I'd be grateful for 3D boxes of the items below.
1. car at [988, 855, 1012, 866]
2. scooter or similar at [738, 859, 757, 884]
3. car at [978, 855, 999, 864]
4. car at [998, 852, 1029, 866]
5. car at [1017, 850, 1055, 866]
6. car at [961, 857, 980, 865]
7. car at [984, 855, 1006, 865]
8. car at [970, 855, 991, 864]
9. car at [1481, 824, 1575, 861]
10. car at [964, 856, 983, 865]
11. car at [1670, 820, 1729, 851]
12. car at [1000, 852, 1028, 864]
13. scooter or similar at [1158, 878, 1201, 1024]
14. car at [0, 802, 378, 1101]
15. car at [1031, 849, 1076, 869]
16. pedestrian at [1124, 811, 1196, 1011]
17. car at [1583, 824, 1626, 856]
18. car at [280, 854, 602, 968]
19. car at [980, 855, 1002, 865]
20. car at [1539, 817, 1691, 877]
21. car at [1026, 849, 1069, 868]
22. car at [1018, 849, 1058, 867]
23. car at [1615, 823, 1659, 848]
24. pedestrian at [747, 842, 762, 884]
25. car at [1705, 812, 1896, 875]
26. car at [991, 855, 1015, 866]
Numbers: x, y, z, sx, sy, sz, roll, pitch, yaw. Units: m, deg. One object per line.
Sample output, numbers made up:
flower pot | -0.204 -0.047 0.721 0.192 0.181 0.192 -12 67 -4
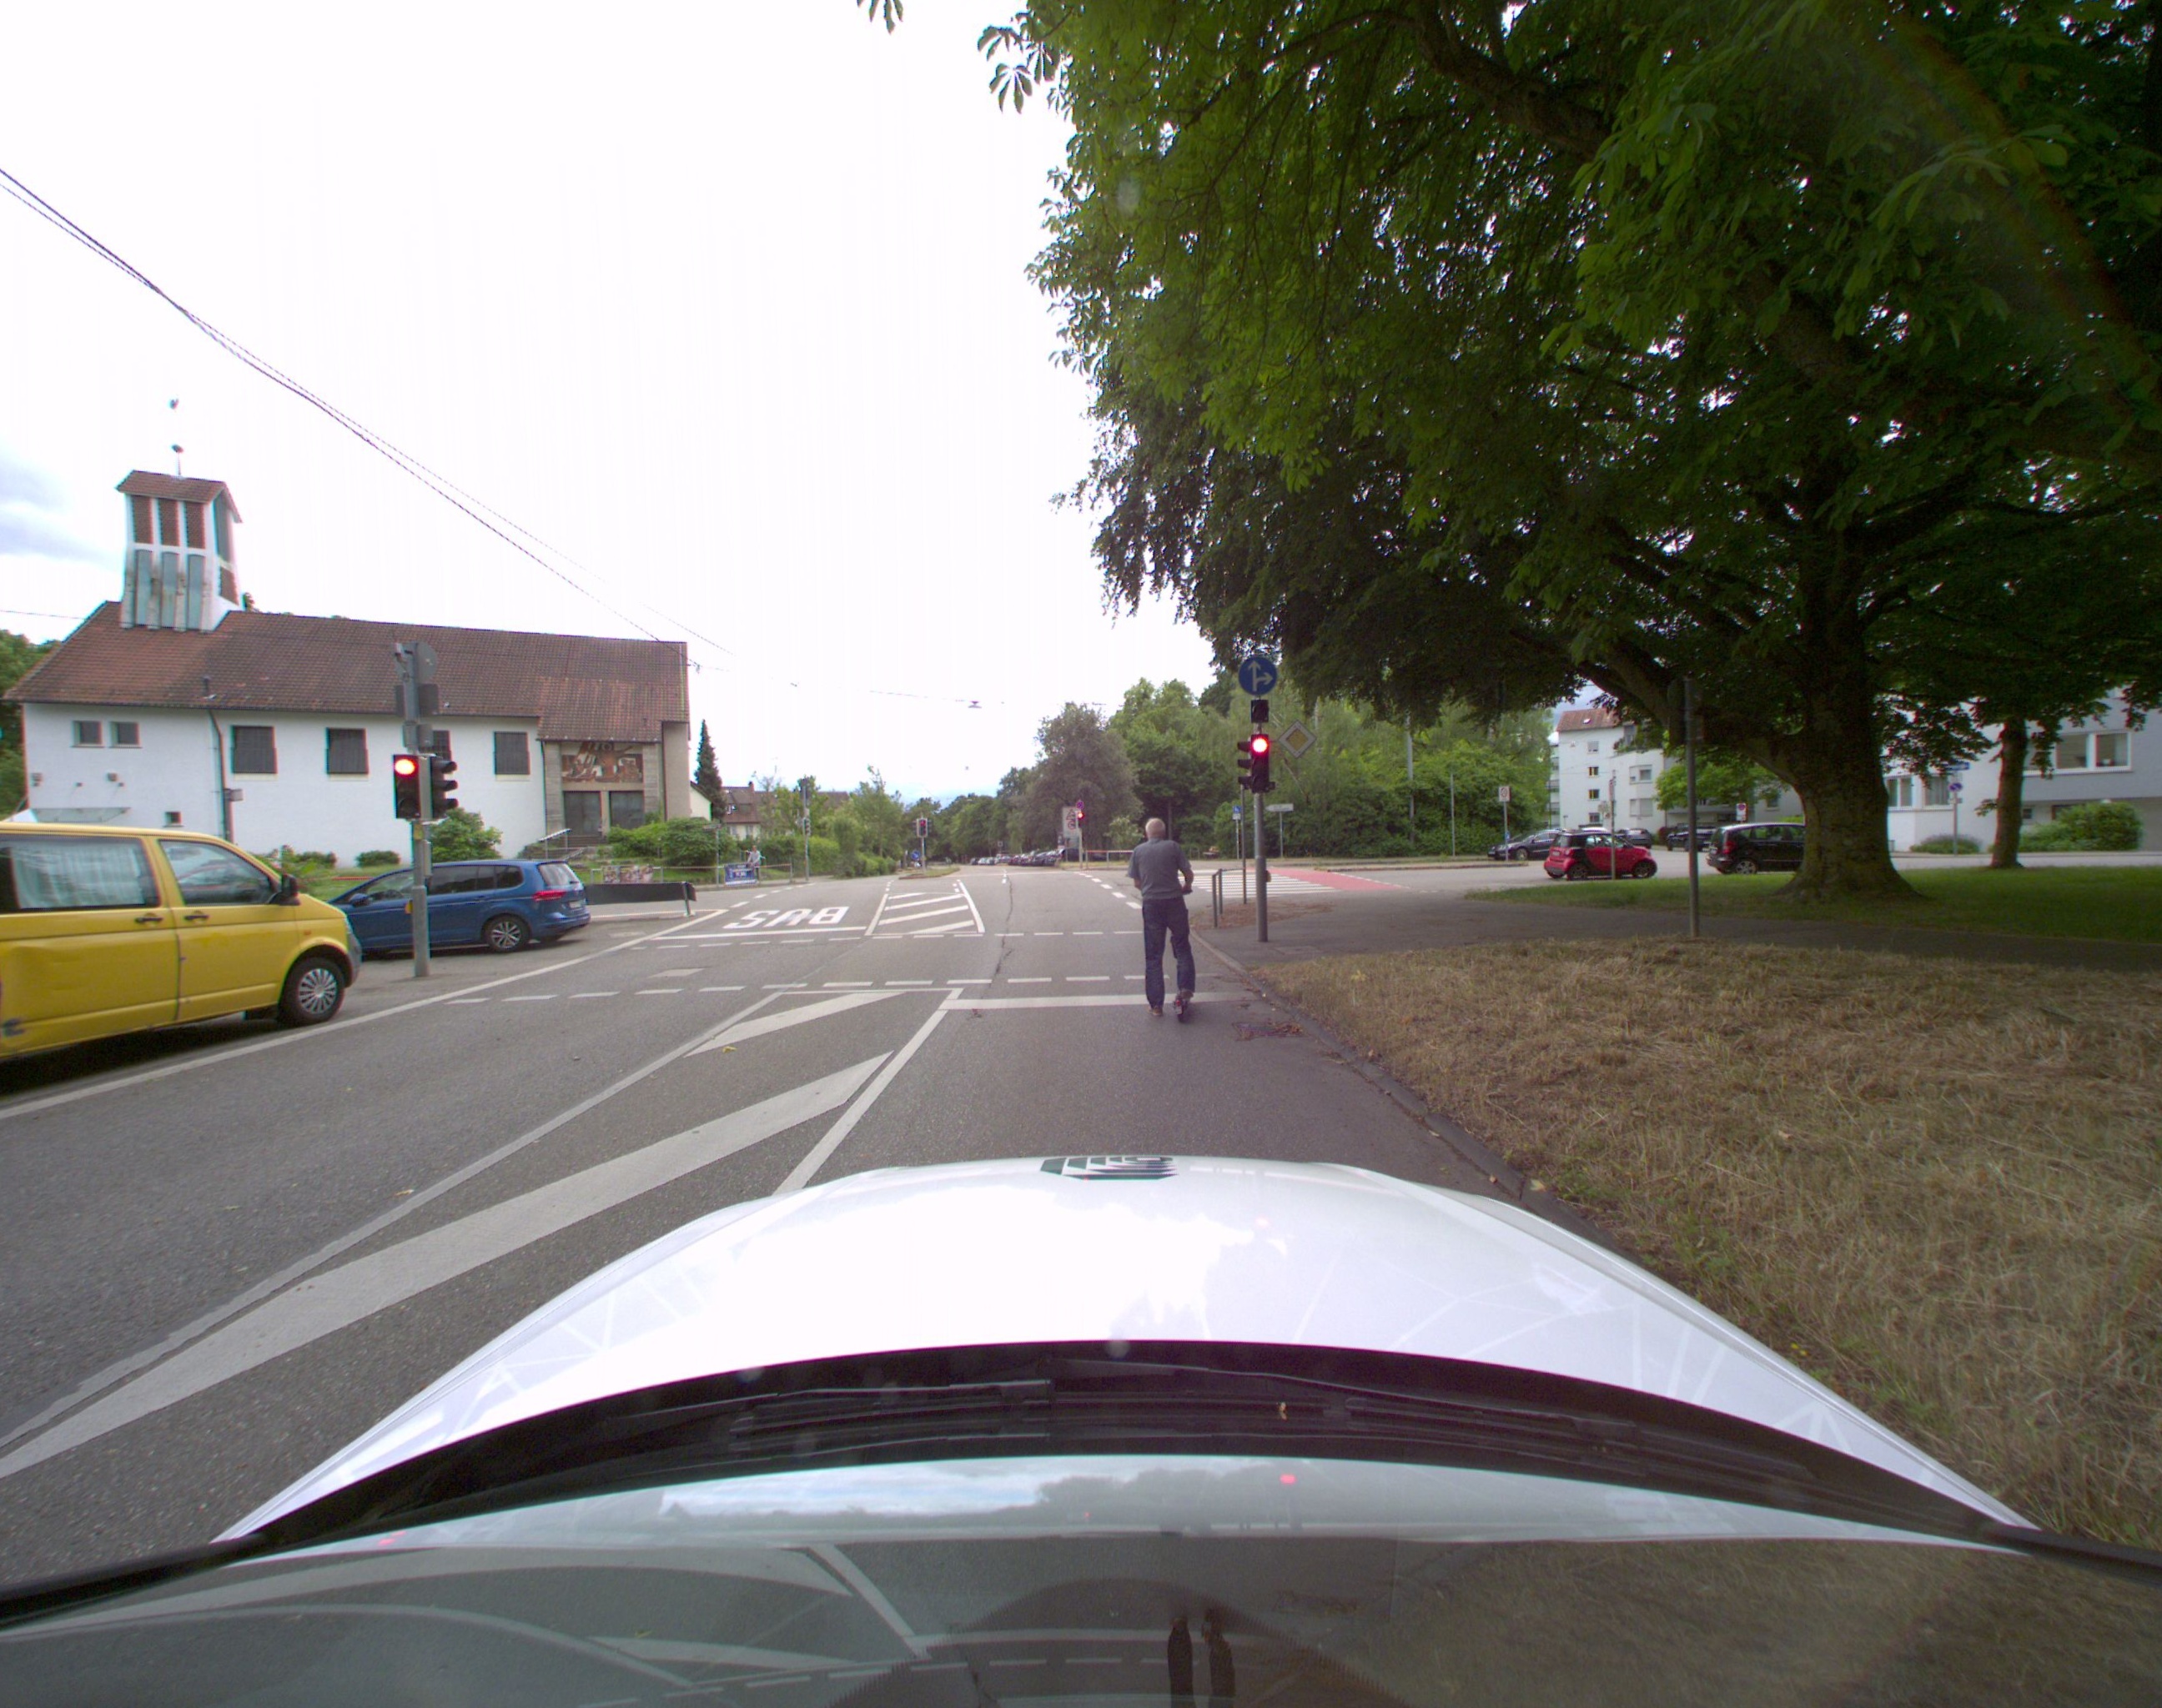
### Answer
car | -14.324 1.129 143.334 3.856 1.610 1.716 -3 1 -21
scooter or similar | -14.966 0.787 36.568 0.576 1.081 1.106 -2 0 -14
car | -18.144 1.125 159.446 3.856 1.610 1.716 -3 1 -21
car | -9.047 0.672 109.345 3.856 1.610 1.716 -3 1 -21
car | -4.929 0.425 89.369 3.856 1.610 1.716 -3 1 -21
car | -24.225 1.520 178.802 3.856 1.610 1.716 -3 1 -21
car | -16.419 1.159 154.910 3.856 1.610 1.716 -3 1 -21
car | -20.494 1.137 166.574 3.856 1.610 1.716 -3 1 -21
car | 21.112 -0.562 38.595 3.498 1.530 1.732 -3 0 8
car | -23.312 1.429 176.441 3.856 1.610 1.716 -3 1 -21
car | 35.570 -1.072 46.920 1.707 1.610 3.875 -3 1 22
car | -10.120 0.623 122.349 3.856 1.610 1.716 -3 1 -21
scooter or similar | 0.918 0.844 7.488 0.280 1.178 1.180 -2 0 10
car | -8.299 0.687 6.334 1.880 2.013 4.558 -2 0 -5
car | -2.588 0.457 77.001 3.857 1.610 1.715 -3 1 -22
pedestrian | 0.755 0.524 7.669 0.569 1.813 0.421 -2 0 10
car | 28.787 -0.791 44.886 1.706 1.610 3.878 -3 1 30
car | -11.064 0.918 14.420 3.992 1.610 1.810 -3 0 -14
car | -17.318 1.119 156.854 3.856 1.610 1.716 -3 1 -21
car | 16.526 -0.208 25.352 3.499 1.610 1.732 -3 0 7
car | -3.275 0.467 79.561 3.856 1.610 1.716 -3 1 -21
car | -4.596 0.418 86.947 3.856 1.610 1.716 -3 1 -21
car | 38.957 -1.281 57.130 1.707 1.610 3.875 -3 1 22
pedestrian | -15.050 0.407 37.512 0.575 1.862 0.880 -2 0 -23
car | 20.833 -0.296 23.794 3.805 1.610 1.739 -3 1 27
car | -13.385 1.121 139.634 3.856 1.610 1.716 -3 1 -21
